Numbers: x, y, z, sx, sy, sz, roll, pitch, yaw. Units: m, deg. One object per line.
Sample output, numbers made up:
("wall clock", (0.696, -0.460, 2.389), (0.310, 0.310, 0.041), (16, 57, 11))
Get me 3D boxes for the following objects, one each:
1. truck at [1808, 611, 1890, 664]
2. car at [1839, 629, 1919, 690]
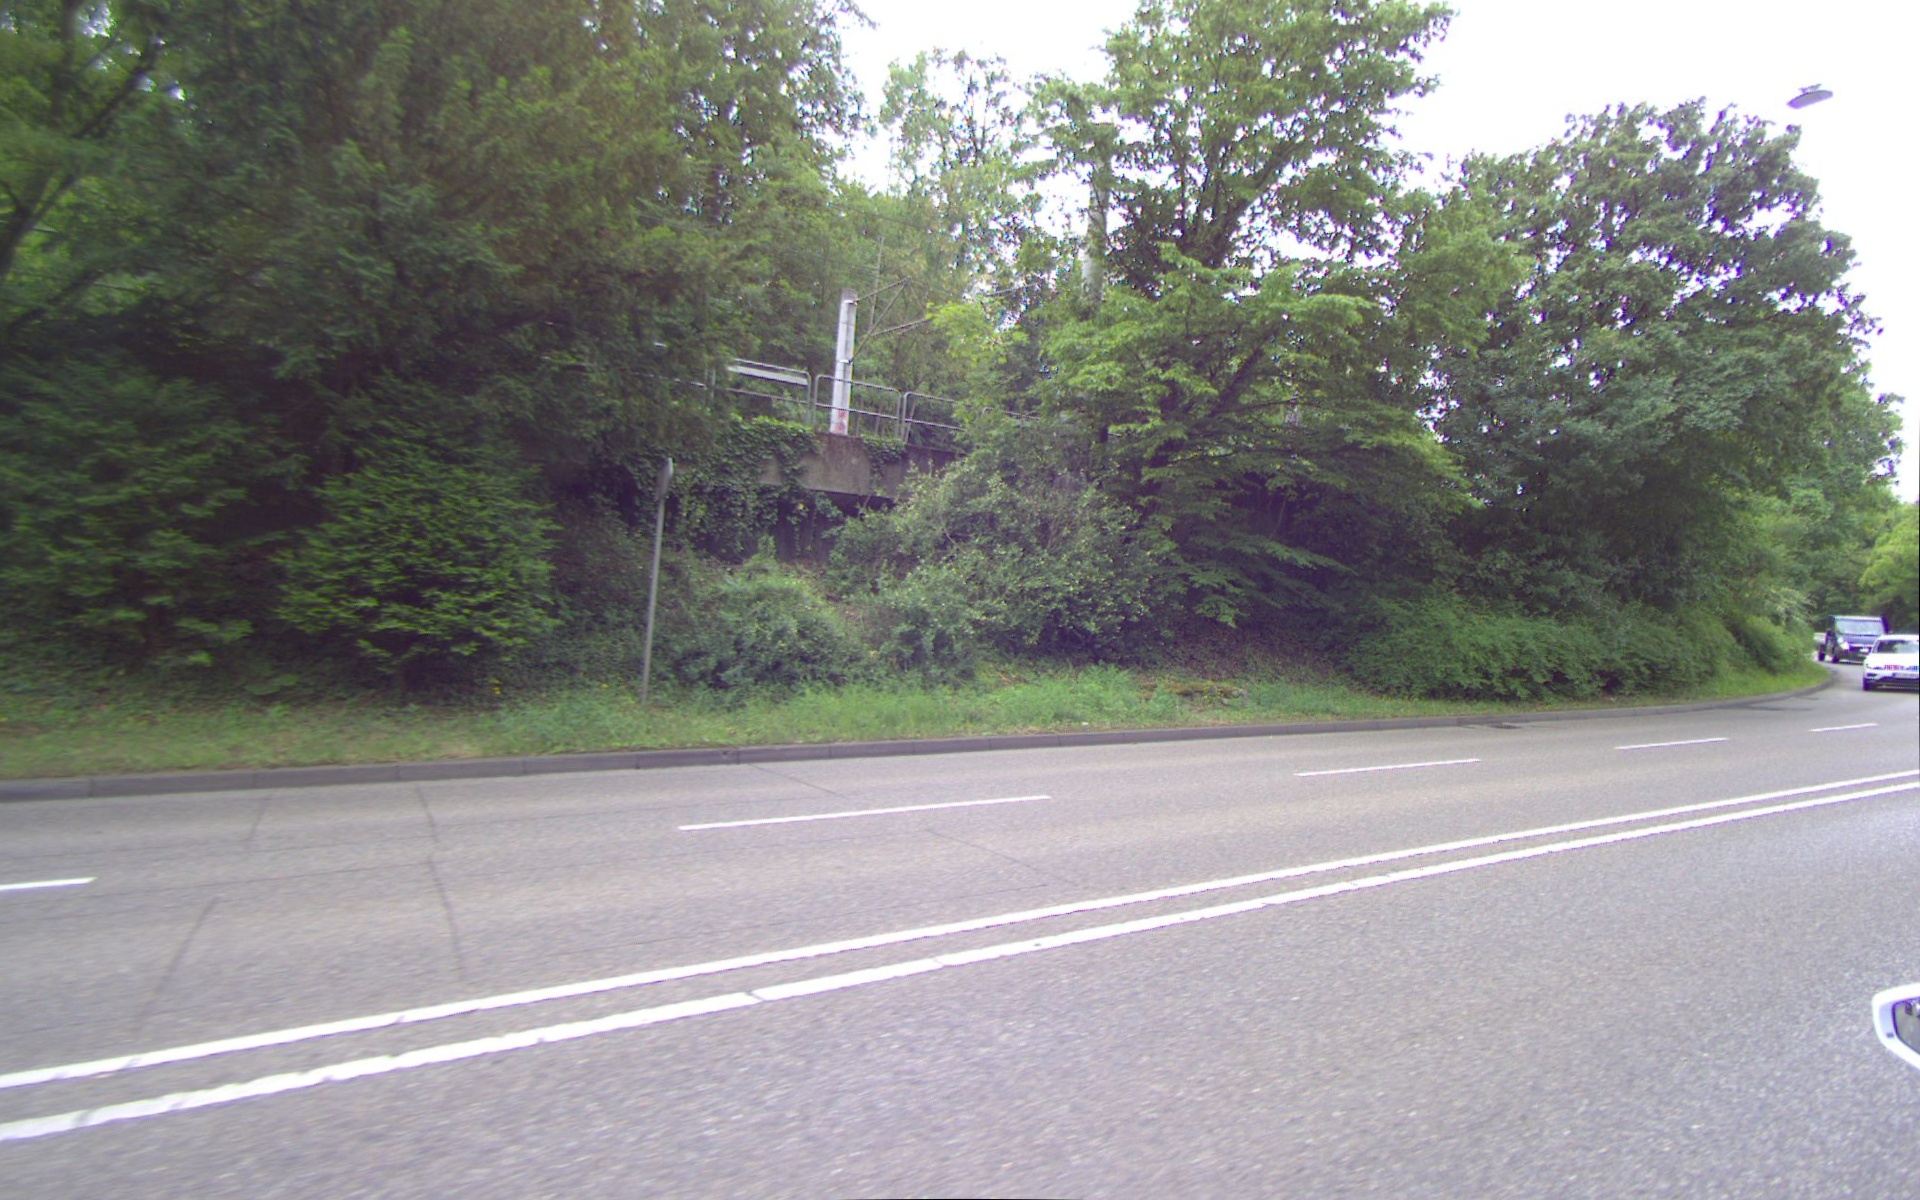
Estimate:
("truck", (43.878, 1.826, 49.737), (2.131, 2.402, 6.659), (1, -1, 34))
("car", (28.024, 1.778, 30.173), (1.831, 1.716, 4.423), (-2, -4, 34))
